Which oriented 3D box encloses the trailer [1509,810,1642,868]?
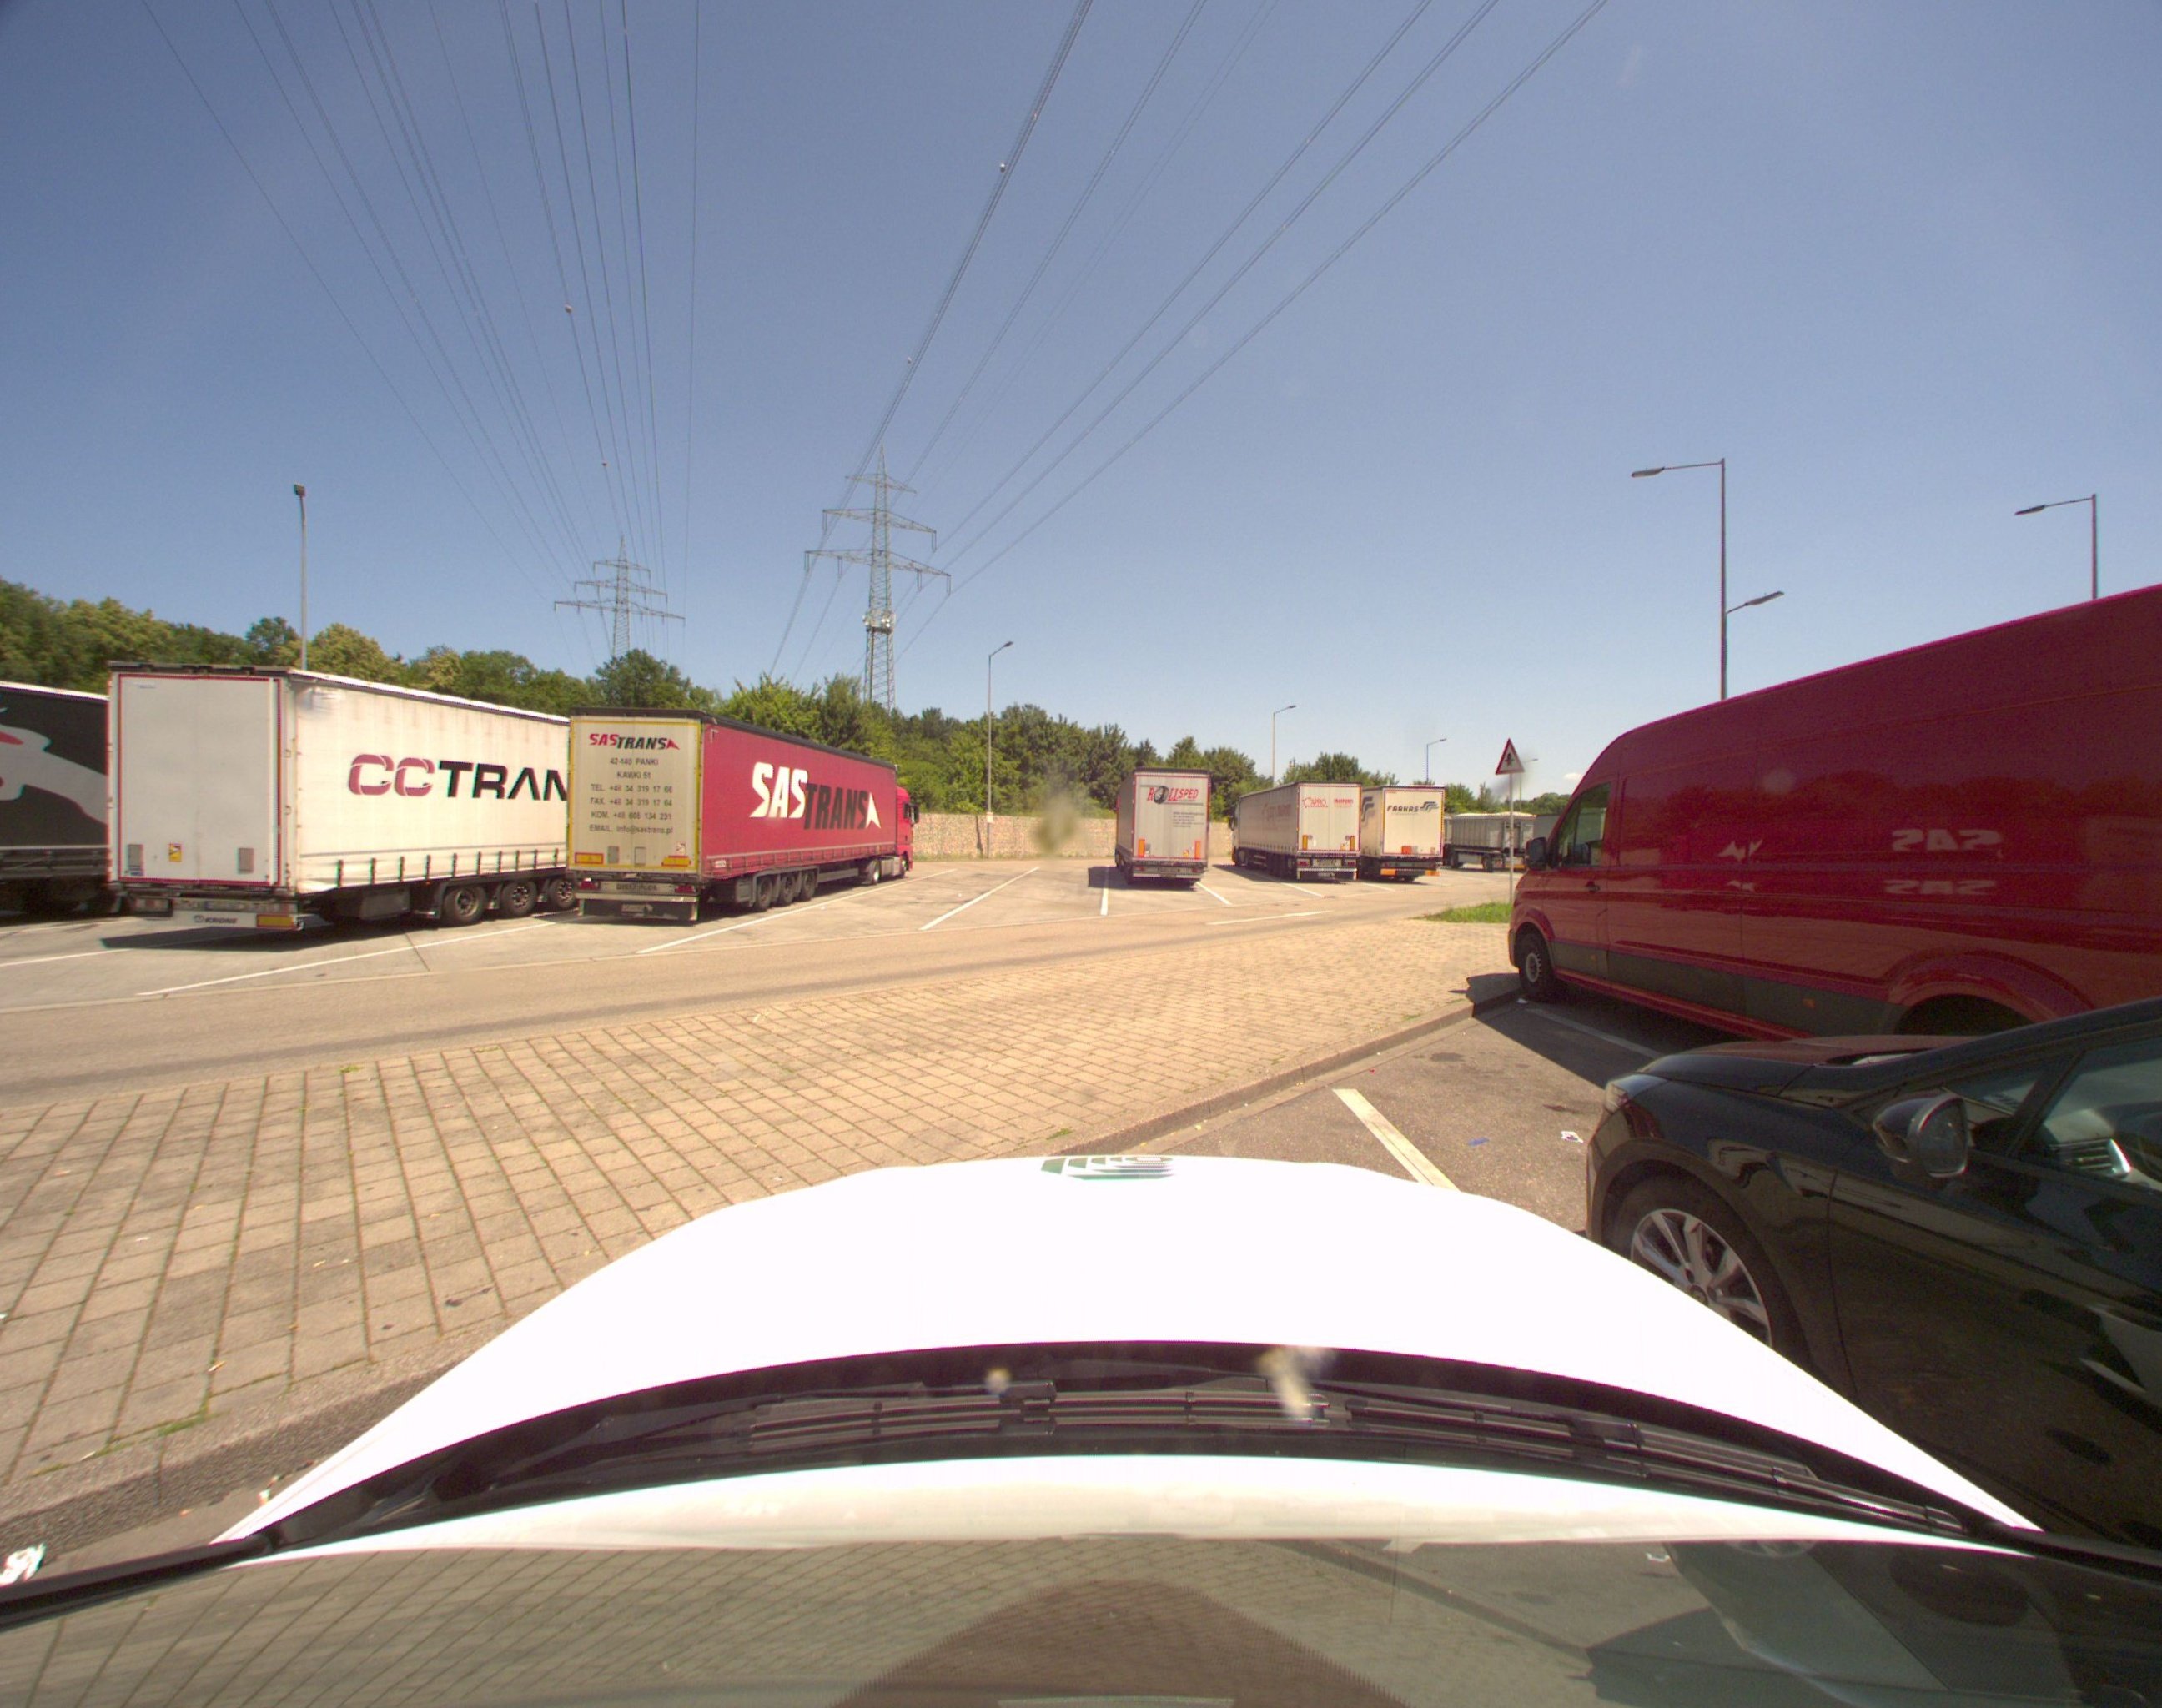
[{"bbox_3d":[38.379,-1.232,64.132,2.826,4.049,13.737,1,2,3],"label":"trailer"}]

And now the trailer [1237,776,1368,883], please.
[{"bbox_3d":[9.957,-1.149,38.621,2.828,4.132,13.730,1,2,2],"label":"trailer"}]

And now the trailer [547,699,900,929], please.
[{"bbox_3d":[-8.038,-0.948,21.656,2.896,4.131,13.731,1,2,2],"label":"trailer"}]

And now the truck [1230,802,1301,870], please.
[{"bbox_3d":[10.166,-1.022,45.432,2.841,3.483,5.486,1,1,2],"label":"truck"}]

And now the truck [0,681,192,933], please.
[{"bbox_3d":[-18.580,-0.796,13.564,2.692,4.016,4.326,1,2,2],"label":"truck"}]

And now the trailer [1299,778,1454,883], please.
[{"bbox_3d":[13.614,-1.116,39.284,2.828,4.132,13.730,1,2,2],"label":"trailer"}]

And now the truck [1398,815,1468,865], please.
[{"bbox_3d":[24.925,-1.004,57.948,2.840,3.364,5.488,1,1,3],"label":"truck"}]

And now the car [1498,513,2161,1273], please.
[{"bbox_3d":[5.160,0.088,5.487,2.055,2.695,6.405,-1,1,6],"label":"car"}]

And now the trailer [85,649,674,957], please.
[{"bbox_3d":[-12.204,-0.884,16.328,2.718,4.209,10.175,1,2,2],"label":"trailer"}]

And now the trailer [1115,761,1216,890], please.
[{"bbox_3d":[3.026,-1.097,33.295,2.896,4.132,13.727,1,2,1],"label":"trailer"}]

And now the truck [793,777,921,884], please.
[{"bbox_3d":[-7.799,-0.829,29.093,2.841,3.427,5.486,1,1,2],"label":"truck"}]

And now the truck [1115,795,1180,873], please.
[{"bbox_3d":[3.171,-0.982,39.907,2.841,3.483,5.486,1,1,2],"label":"truck"}]

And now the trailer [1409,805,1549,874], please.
[{"bbox_3d":[24.535,-0.996,51.449,2.826,3.717,13.737,1,2,3],"label":"trailer"}]

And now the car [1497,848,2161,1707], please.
[{"bbox_3d":[2.517,0.755,1.177,1.733,1.482,3.813,-1,1,-3],"label":"car"}]
